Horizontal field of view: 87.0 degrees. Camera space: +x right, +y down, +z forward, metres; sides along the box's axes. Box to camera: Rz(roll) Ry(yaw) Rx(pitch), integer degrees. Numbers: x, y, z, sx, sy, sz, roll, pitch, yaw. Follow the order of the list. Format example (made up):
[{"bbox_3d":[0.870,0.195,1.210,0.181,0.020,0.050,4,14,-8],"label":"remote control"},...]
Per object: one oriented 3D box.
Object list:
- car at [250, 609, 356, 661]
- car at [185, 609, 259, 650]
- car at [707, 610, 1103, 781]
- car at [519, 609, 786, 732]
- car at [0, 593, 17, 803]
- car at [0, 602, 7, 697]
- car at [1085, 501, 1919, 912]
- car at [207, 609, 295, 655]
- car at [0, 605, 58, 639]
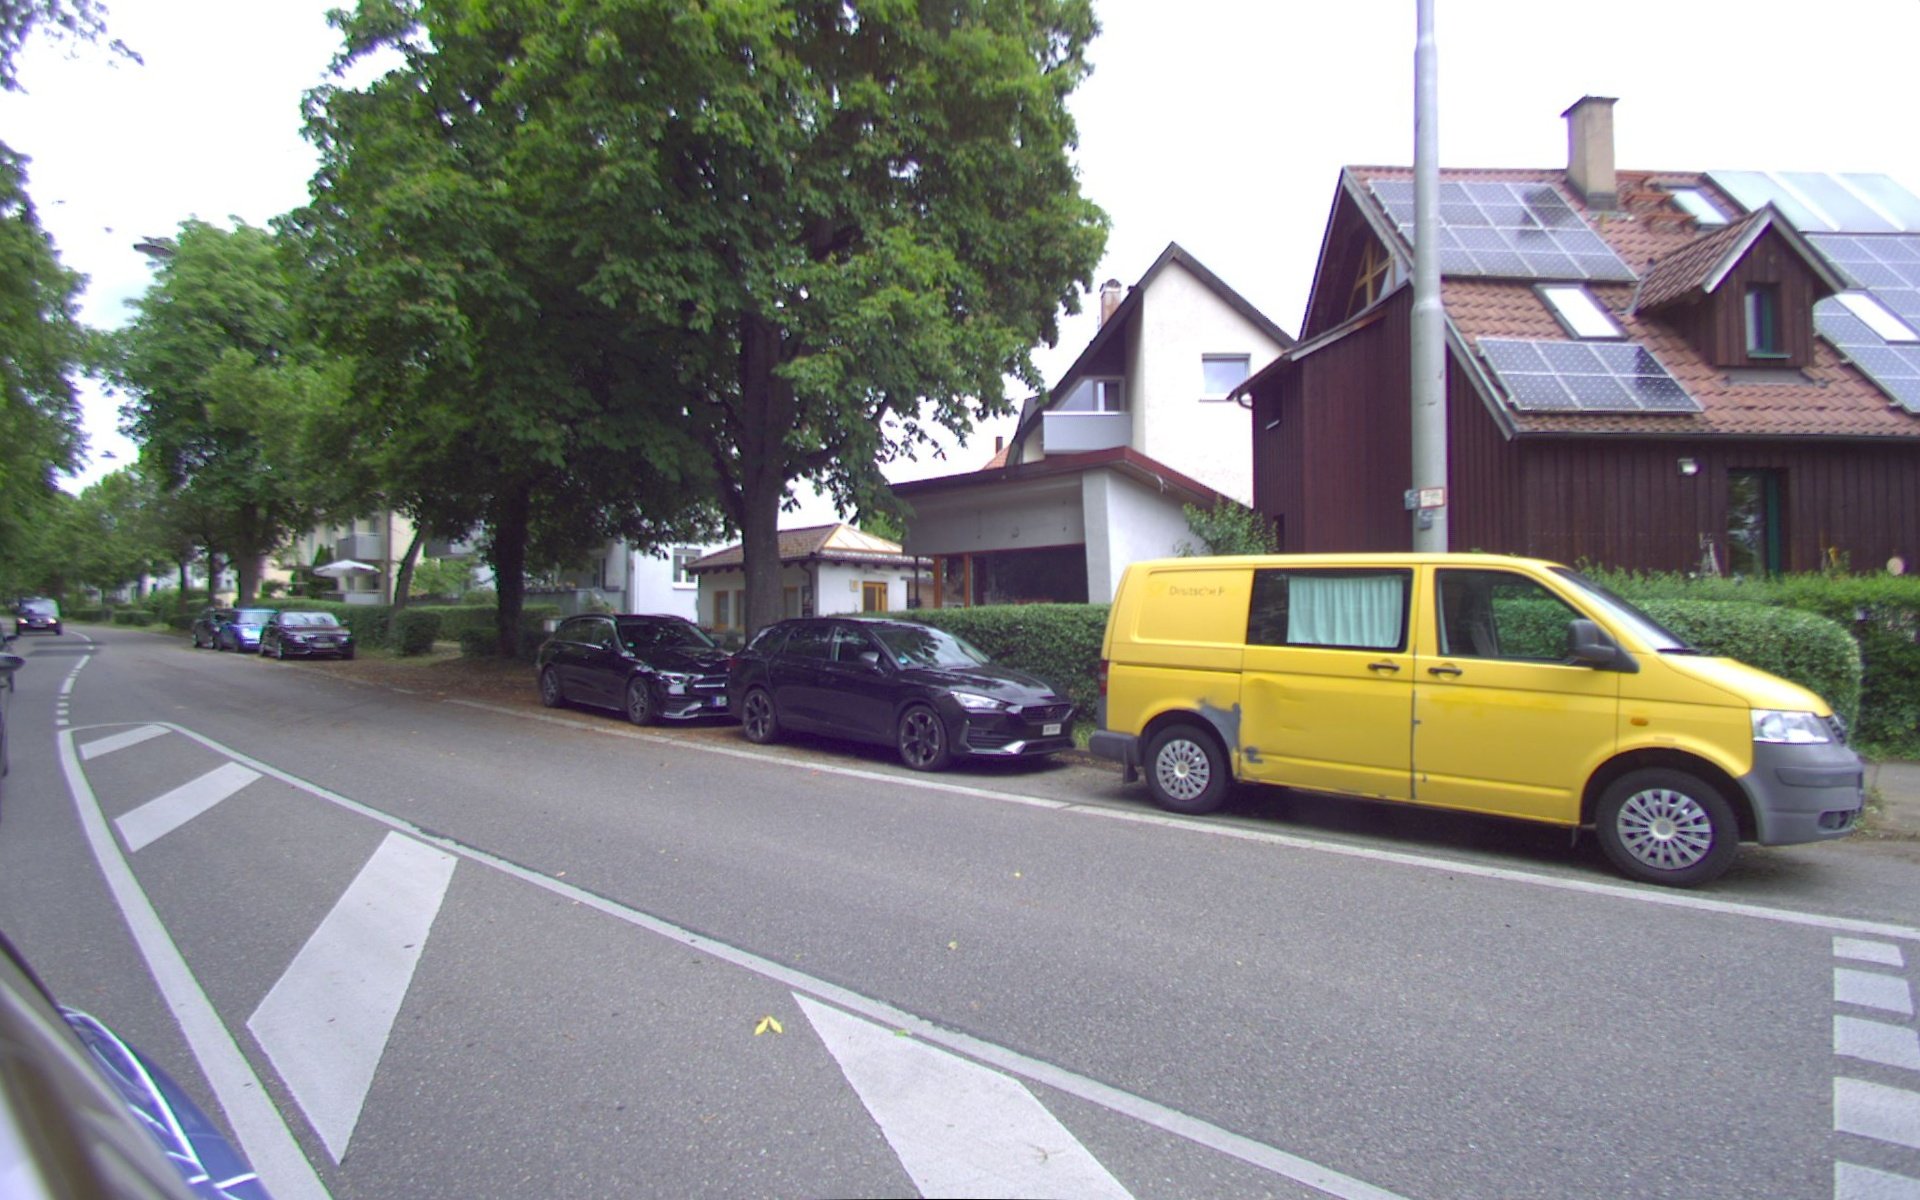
[{"bbox_3d":[-19.054,1.001,29.276,1.825,1.387,4.599,2,-2,-42],"label":"car"},{"bbox_3d":[-26.372,1.062,36.136,3.773,1.387,1.519,-1,-3,45],"label":"car"},{"bbox_3d":[-0.787,0.871,11.027,4.516,1.461,1.725,0,-2,45],"label":"car"},{"bbox_3d":[-4.535,0.889,14.470,1.725,1.461,4.597,2,-2,-44],"label":"car"},{"bbox_3d":[-7.920,0.722,7.084,1.777,1.562,4.304,1,-1,-41],"label":"car"},{"bbox_3d":[-16.754,0.809,16.404,1.788,1.541,4.005,2,-1,-43],"label":"car"},{"bbox_3d":[3.437,0.559,7.215,4.796,2.004,1.897,-1,-2,40],"label":"car"},{"bbox_3d":[-23.285,1.040,33.170,4.153,1.387,1.614,-1,-3,45],"label":"car"},{"bbox_3d":[-45.713,1.083,49.679,1.970,1.607,4.004,2,-2,-43],"label":"car"}]
